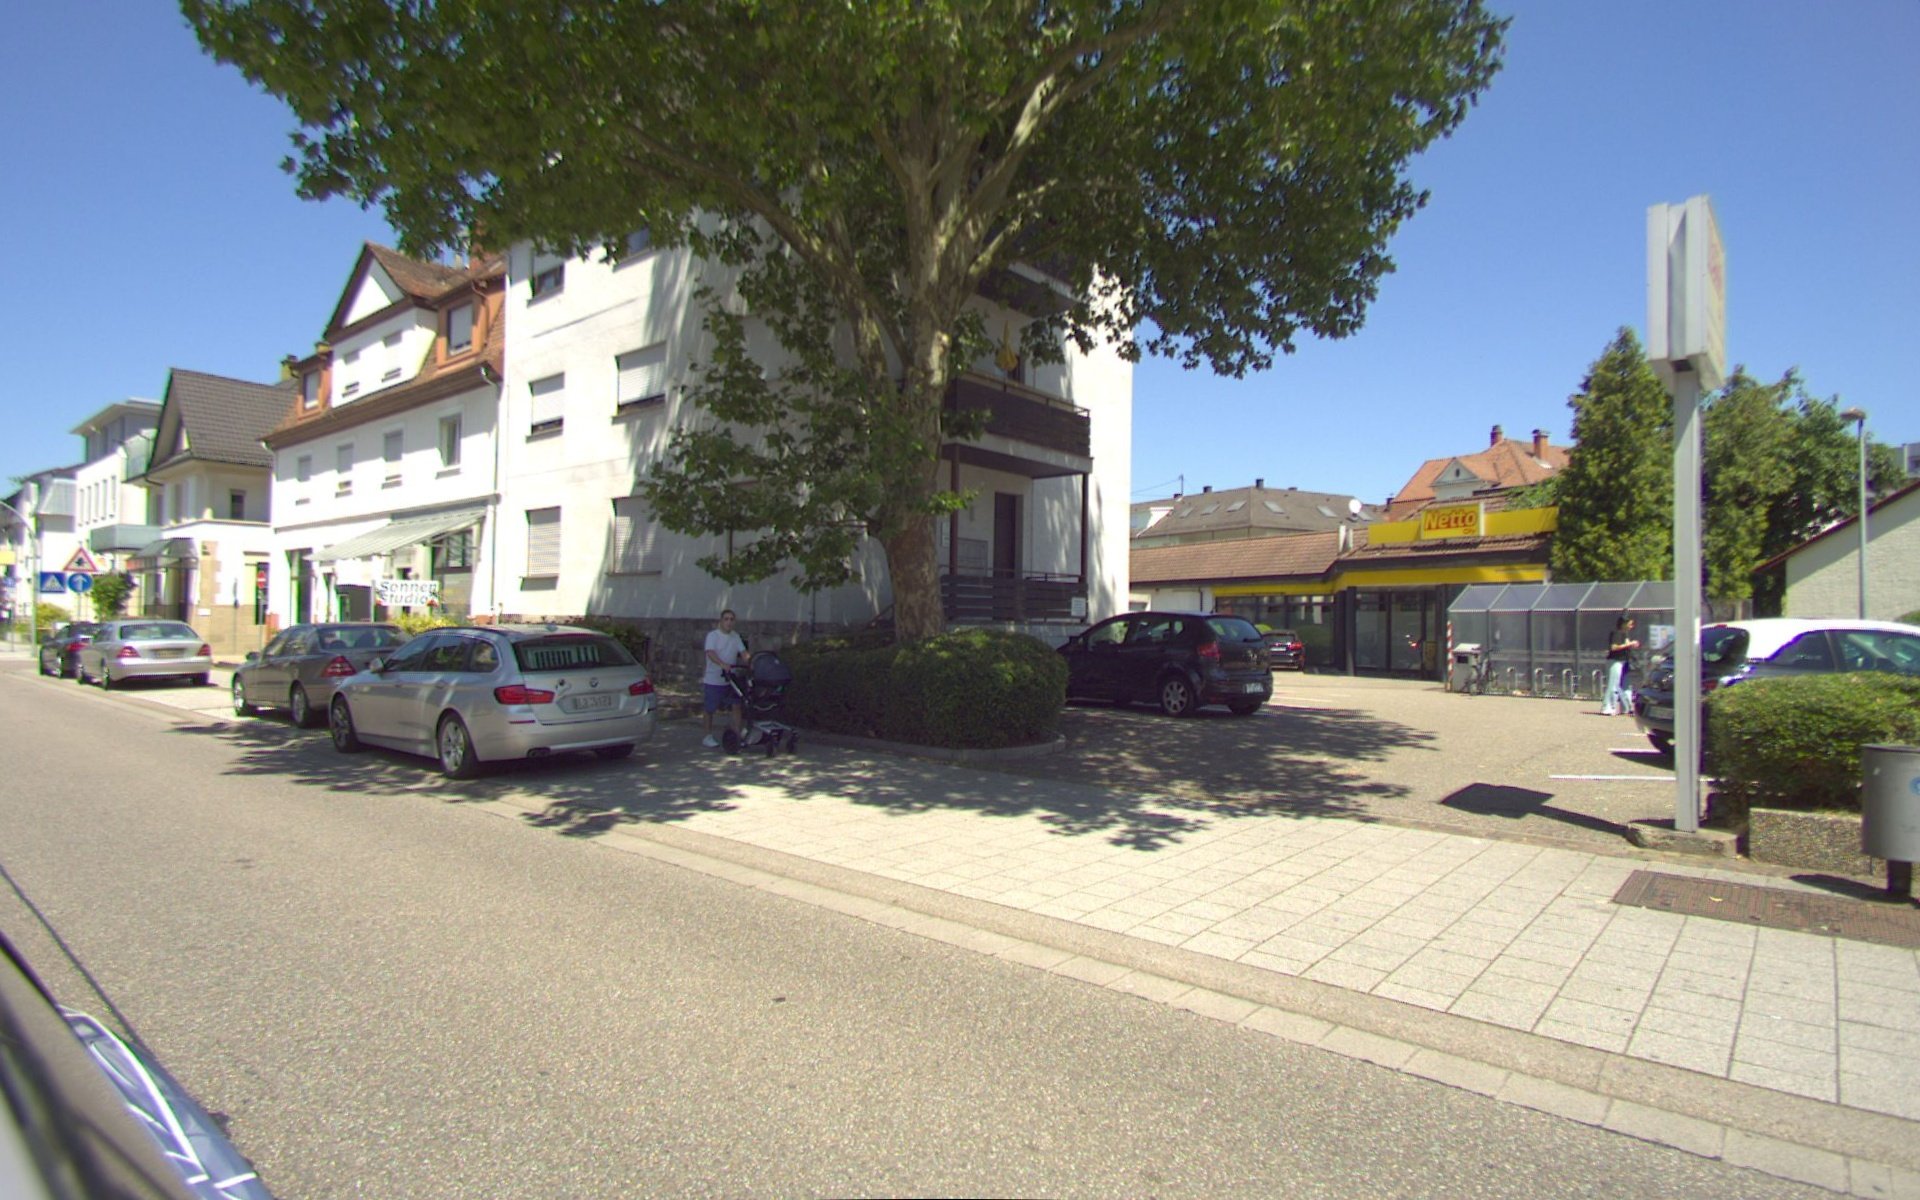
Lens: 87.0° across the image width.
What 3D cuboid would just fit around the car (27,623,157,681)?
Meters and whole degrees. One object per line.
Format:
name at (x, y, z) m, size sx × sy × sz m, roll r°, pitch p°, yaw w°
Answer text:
car at (-23.064, 1.300, 26.825) m, size 5.096 × 1.384 × 1.922 m, roll -1°, pitch -2°, yaw 41°

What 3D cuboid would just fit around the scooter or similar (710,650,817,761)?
scooter or similar at (-2.164, 1.124, 11.122) m, size 1.028 × 1.106 × 0.656 m, roll -1°, pitch -1°, yaw 42°

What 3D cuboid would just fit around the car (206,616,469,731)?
car at (-9.517, 0.991, 15.310) m, size 4.864 × 1.463 × 1.961 m, roll -1°, pitch -1°, yaw 40°

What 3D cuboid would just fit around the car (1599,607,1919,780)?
car at (8.771, 0.851, 9.750) m, size 3.952 × 1.498 × 1.891 m, roll 0°, pitch -2°, yaw 11°

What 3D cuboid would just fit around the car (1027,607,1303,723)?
car at (3.065, 0.945, 15.889) m, size 1.782 × 1.557 × 4.115 m, roll 2°, pitch -2°, yaw -36°

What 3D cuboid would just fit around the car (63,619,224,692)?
car at (-18.505, 1.167, 22.825) m, size 5.355 × 1.463 × 1.960 m, roll -1°, pitch -1°, yaw 41°

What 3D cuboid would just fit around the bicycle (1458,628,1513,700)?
bicycle at (12.156, 1.455, 23.384) m, size 1.625 × 1.570 × 0.587 m, roll -1°, pitch 0°, yaw -42°

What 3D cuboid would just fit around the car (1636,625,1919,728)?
car at (13.085, 1.160, 15.613) m, size 3.998 × 1.445 × 1.767 m, roll 0°, pitch -3°, yaw 15°

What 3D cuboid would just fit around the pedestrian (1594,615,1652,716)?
pedestrian at (11.123, 1.084, 16.992) m, size 0.714 × 1.639 × 0.679 m, roll -1°, pitch -2°, yaw 27°

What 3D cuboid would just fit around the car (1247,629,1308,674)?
car at (11.566, 1.837, 36.828) m, size 1.984 × 1.509 × 3.975 m, roll 0°, pitch -2°, yaw 18°

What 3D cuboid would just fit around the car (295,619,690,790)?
car at (-5.321, 0.948, 11.150) m, size 5.146 × 1.463 × 1.961 m, roll -1°, pitch -1°, yaw 40°

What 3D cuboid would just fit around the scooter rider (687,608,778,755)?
scooter rider at (-2.602, 0.900, 11.549) m, size 0.877 × 1.587 × 0.582 m, roll -2°, pitch 0°, yaw 42°
